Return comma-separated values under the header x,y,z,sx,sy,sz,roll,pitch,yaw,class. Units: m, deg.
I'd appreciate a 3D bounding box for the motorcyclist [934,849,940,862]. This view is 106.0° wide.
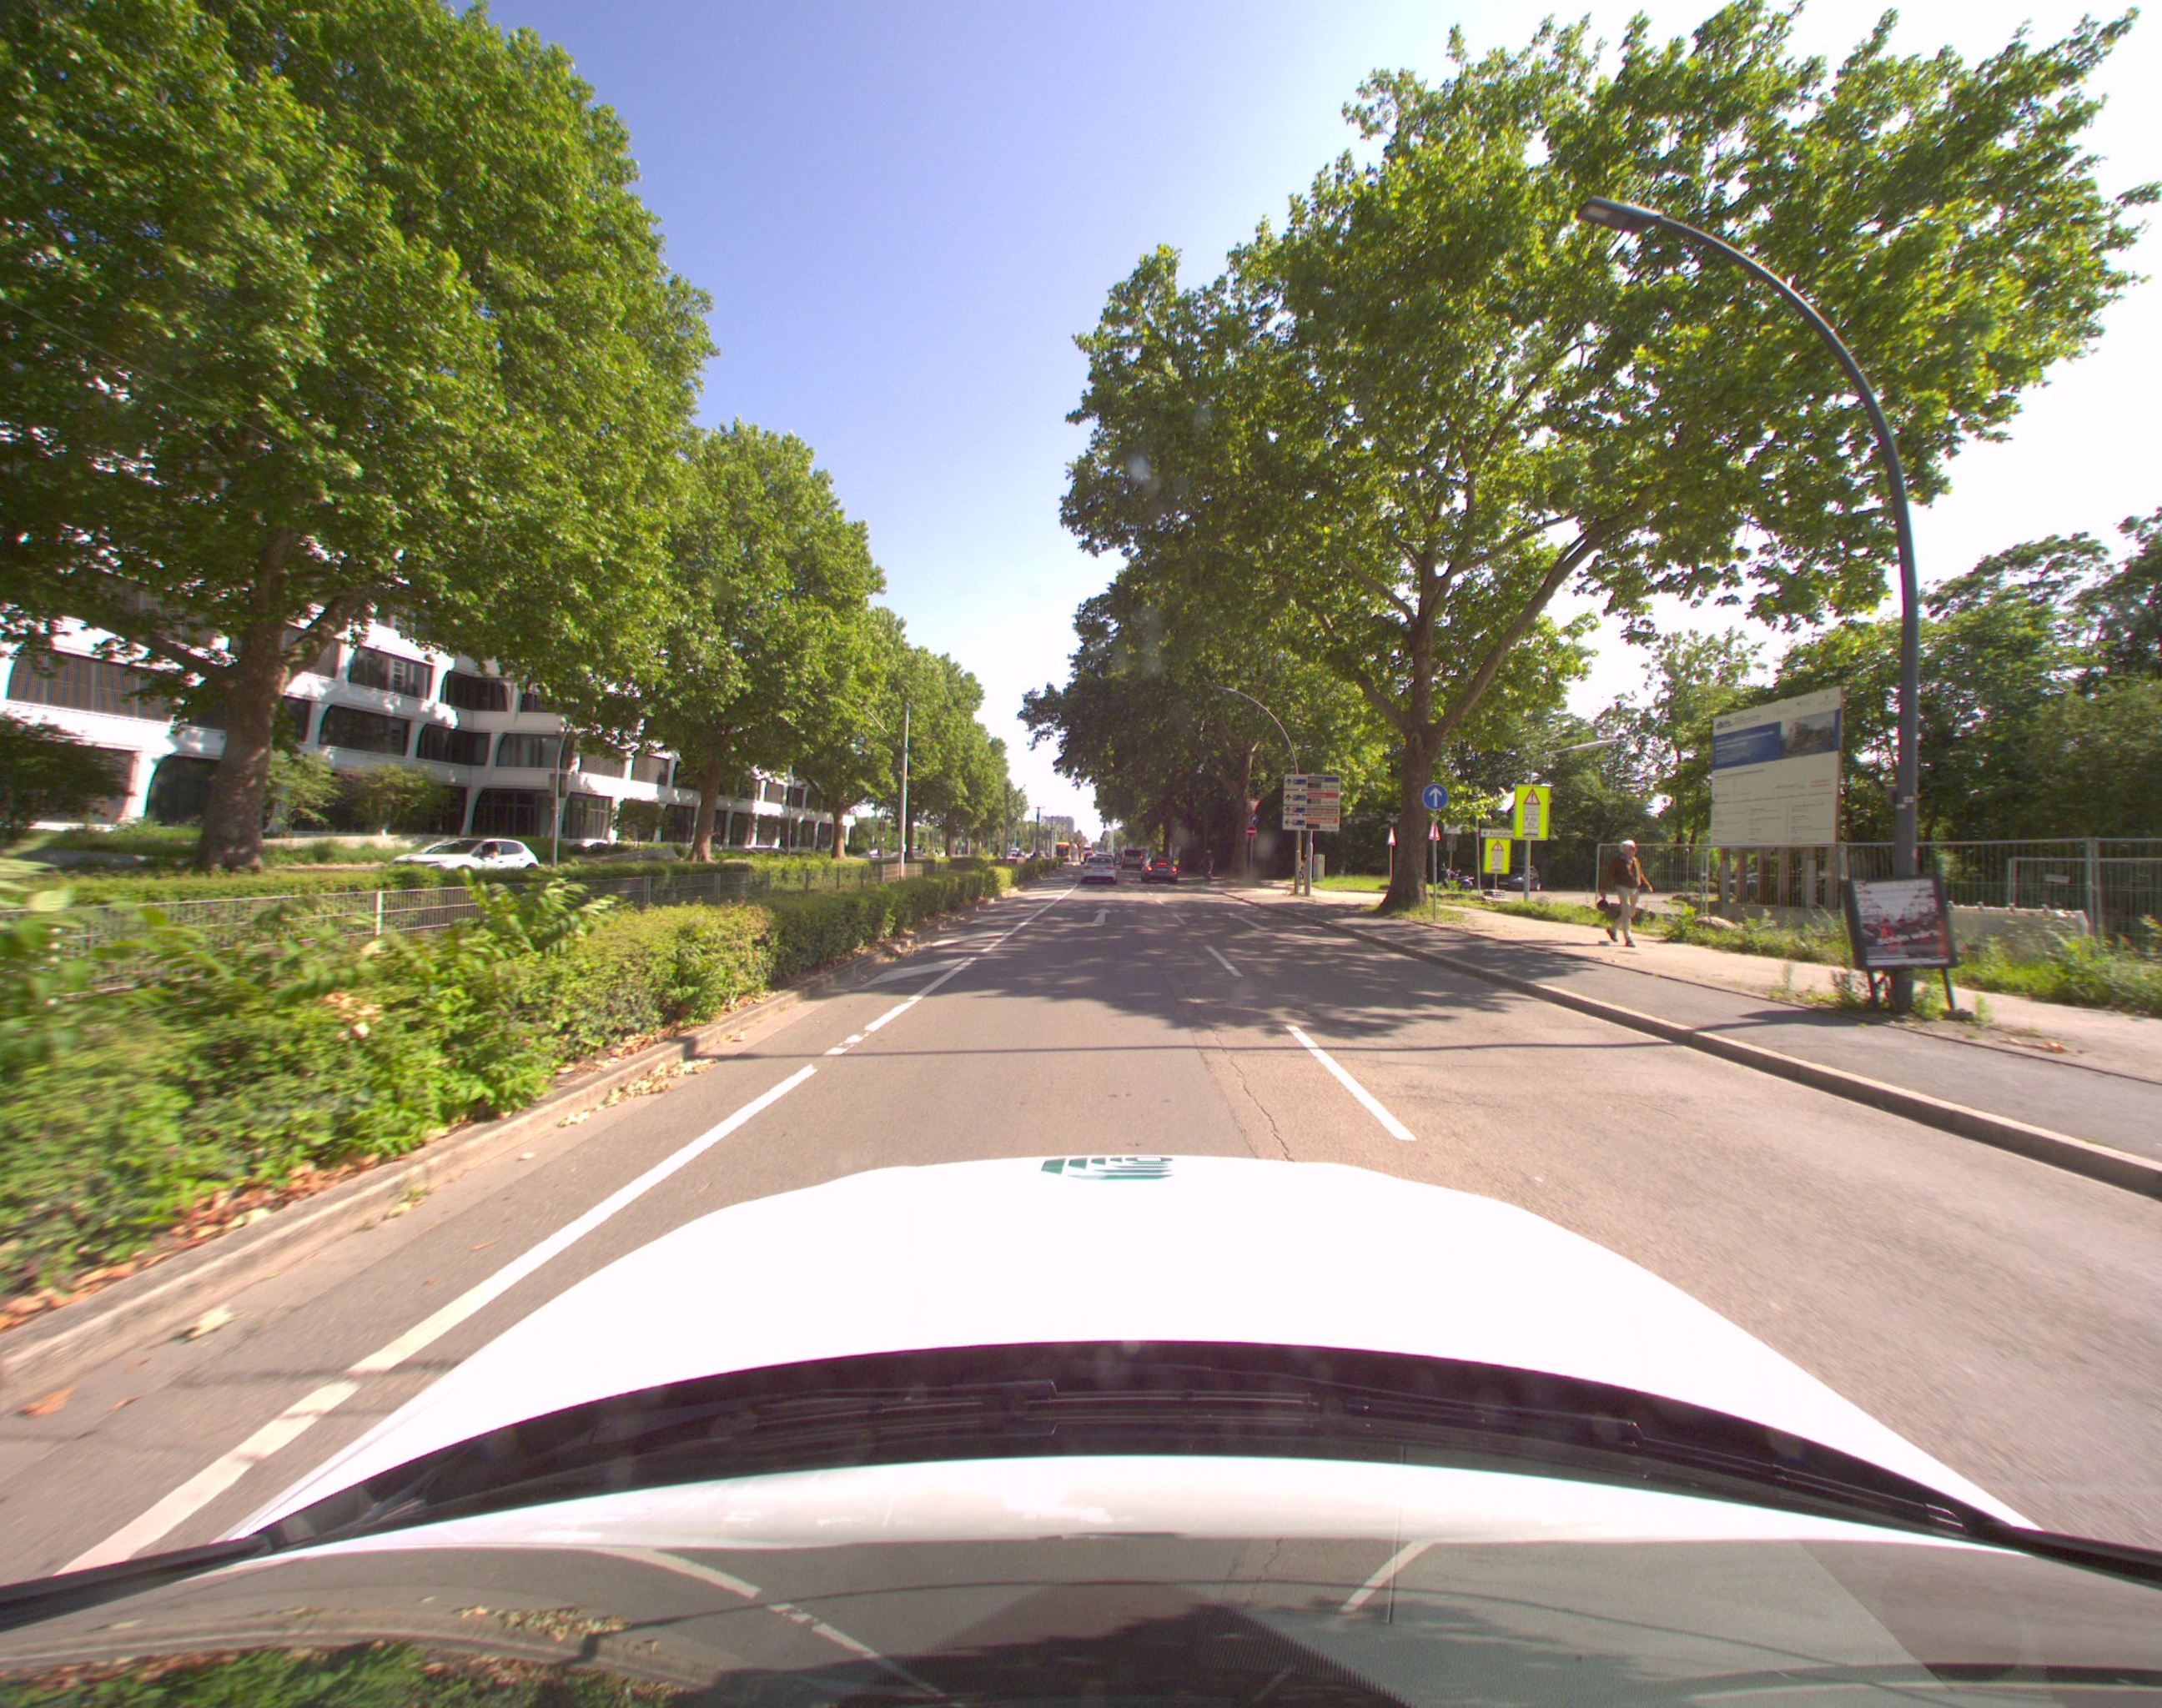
x,y,z,sx,sy,sz,roll,pitch,yaw,class
-16.313,0.144,92.214,0.578,1.457,0.533,2,0,1,motorcyclist

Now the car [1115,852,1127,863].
x,y,z,sx,sy,sz,roll,pitch,yaw,class
7.339,0.640,150.762,2.064,1.999,4.060,2,0,2,car

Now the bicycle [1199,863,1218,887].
x,y,z,sx,sy,sz,roll,pitch,yaw,class
6.963,1.142,44.661,0.712,1.148,2.179,-1,2,1,bicycle

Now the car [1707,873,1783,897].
x,y,z,sx,sy,sz,roll,pitch,yaw,class
44.602,2.058,54.722,3.984,1.454,1.679,2,0,-8,car

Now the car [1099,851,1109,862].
x,y,z,sx,sy,sz,roll,pitch,yaw,class
4.286,0.505,149.921,1.723,1.901,4.002,2,0,2,car

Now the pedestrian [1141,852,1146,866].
x,y,z,sx,sy,sz,roll,pitch,yaw,class
9.397,0.738,121.920,0.633,1.946,0.719,2,0,2,pedestrian

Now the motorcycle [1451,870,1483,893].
x,y,z,sx,sy,sz,roll,pitch,yaw,class
17.828,1.268,37.617,1.217,0.967,0.470,2,0,-6,motorcycle

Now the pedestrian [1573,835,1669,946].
x,y,z,sx,sy,sz,roll,pitch,yaw,class
9.681,0.625,14.658,0.935,1.892,1.152,2,0,1,pedestrian

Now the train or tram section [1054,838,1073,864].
x,y,z,sx,sy,sz,roll,pitch,yaw,class
-2.844,-0.502,133.911,2.606,4.015,7.753,2,0,2,train or tram section

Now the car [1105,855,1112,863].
x,y,z,sx,sy,sz,roll,pitch,yaw,class
6.983,1.363,208.370,1.723,1.901,4.002,2,0,2,car

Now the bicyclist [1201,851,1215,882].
x,y,z,sx,sy,sz,roll,pitch,yaw,class
6.947,0.661,44.668,0.632,1.648,0.979,-1,1,1,bicyclist

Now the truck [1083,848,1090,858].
x,y,z,sx,sy,sz,roll,pitch,yaw,class
1.857,-0.308,260.241,1.986,2.790,8.523,2,0,2,truck

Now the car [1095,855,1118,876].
x,y,z,sx,sy,sz,roll,pitch,yaw,class
2.012,0.897,64.936,1.723,1.605,3.886,2,0,2,car

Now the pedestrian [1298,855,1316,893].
x,y,z,sx,sy,sz,roll,pitch,yaw,class
10.912,0.939,39.343,0.629,1.785,0.874,2,0,1,pedestrian

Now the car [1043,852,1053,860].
x,y,z,sx,sy,sz,roll,pitch,yaw,class
-8.027,0.486,196.601,1.986,1.734,4.002,2,0,2,car

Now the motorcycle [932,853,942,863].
x,y,z,sx,sy,sz,roll,pitch,yaw,class
-16.327,0.433,92.250,0.630,1.175,2.000,2,0,2,motorcycle

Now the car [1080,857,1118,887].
x,y,z,sx,sy,sz,roll,pitch,yaw,class
0.948,0.874,41.924,1.778,1.420,3.886,2,0,2,car

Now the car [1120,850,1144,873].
x,y,z,sx,sy,sz,roll,pitch,yaw,class
5.321,0.749,85.320,2.221,2.212,4.163,2,0,2,car

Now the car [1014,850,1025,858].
x,y,z,sx,sy,sz,roll,pitch,yaw,class
-14.253,0.035,188.801,1.823,1.624,4.898,2,0,1,car

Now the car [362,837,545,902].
x,y,z,sx,sy,sz,roll,pitch,yaw,class
-16.951,0.387,22.306,1.750,1.569,4.020,2,0,2,car

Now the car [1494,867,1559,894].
x,y,z,sx,sy,sz,roll,pitch,yaw,class
26.239,1.576,47.914,4.014,1.454,1.667,2,0,-33,car

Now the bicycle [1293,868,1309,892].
x,y,z,sx,sy,sz,roll,pitch,yaw,class
10.579,1.230,39.198,0.348,1.082,1.699,2,0,1,bicycle

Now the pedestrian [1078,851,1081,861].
x,y,z,sx,sy,sz,roll,pitch,yaw,class
-0.304,0.360,155.696,0.621,1.918,0.690,2,0,2,pedestrian

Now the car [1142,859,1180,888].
x,y,z,sx,sy,sz,roll,pitch,yaw,class
4.408,1.041,45.224,1.776,1.420,4.002,2,0,2,car

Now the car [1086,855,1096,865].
x,y,z,sx,sy,sz,roll,pitch,yaw,class
1.745,0.981,142.191,1.723,1.631,4.002,2,0,2,car
